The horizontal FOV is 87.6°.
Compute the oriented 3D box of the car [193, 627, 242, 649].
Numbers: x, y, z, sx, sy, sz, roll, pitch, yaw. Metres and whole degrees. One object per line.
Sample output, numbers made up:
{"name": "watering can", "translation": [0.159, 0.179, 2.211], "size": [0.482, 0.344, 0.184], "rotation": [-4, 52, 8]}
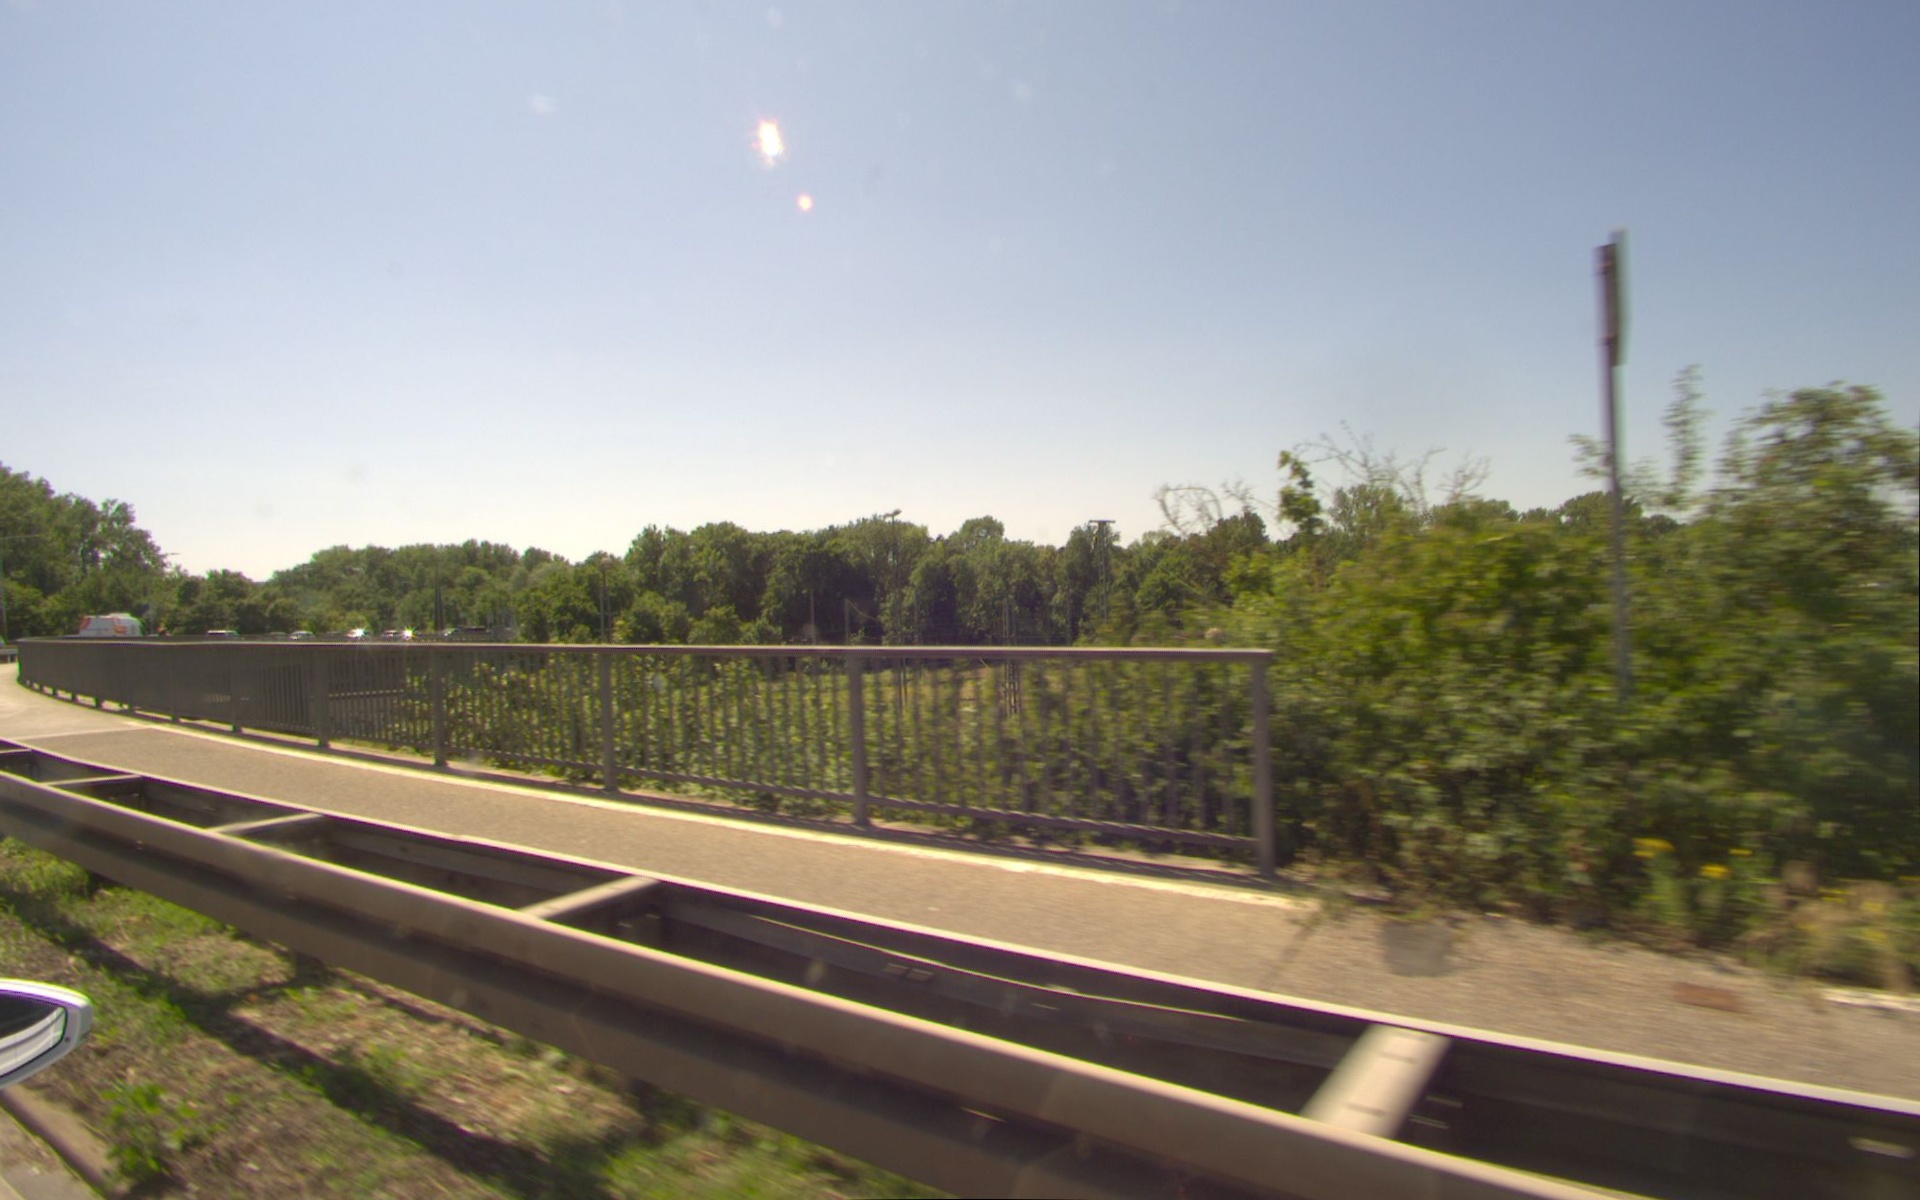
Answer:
{"name": "car", "translation": [-63.223, 3.251, 85.336], "size": [1.859, 1.873, 3.999], "rotation": [0, -2, -12]}

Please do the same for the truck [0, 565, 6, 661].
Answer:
{"name": "truck", "translation": [-46.389, 0.511, 45.562], "size": [3.140, 4.642, 7.349], "rotation": [1, -3, -35]}

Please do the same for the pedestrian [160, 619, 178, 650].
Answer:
{"name": "pedestrian", "translation": [-51.209, 2.248, 64.812], "size": [0.727, 1.992, 0.732], "rotation": [0, -2, -24]}

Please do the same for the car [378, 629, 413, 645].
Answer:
{"name": "car", "translation": [-67.331, 4.460, 119.417], "size": [1.858, 1.873, 4.003], "rotation": [0, -2, 1]}

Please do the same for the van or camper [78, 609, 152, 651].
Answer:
{"name": "van or camper", "translation": [-57.839, 2.048, 68.653], "size": [2.174, 2.746, 5.908], "rotation": [0, -1, -23]}

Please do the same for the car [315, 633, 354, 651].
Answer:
{"name": "car", "translation": [-66.873, 4.506, 107.073], "size": [1.858, 1.873, 4.002], "rotation": [0, -2, -4]}
